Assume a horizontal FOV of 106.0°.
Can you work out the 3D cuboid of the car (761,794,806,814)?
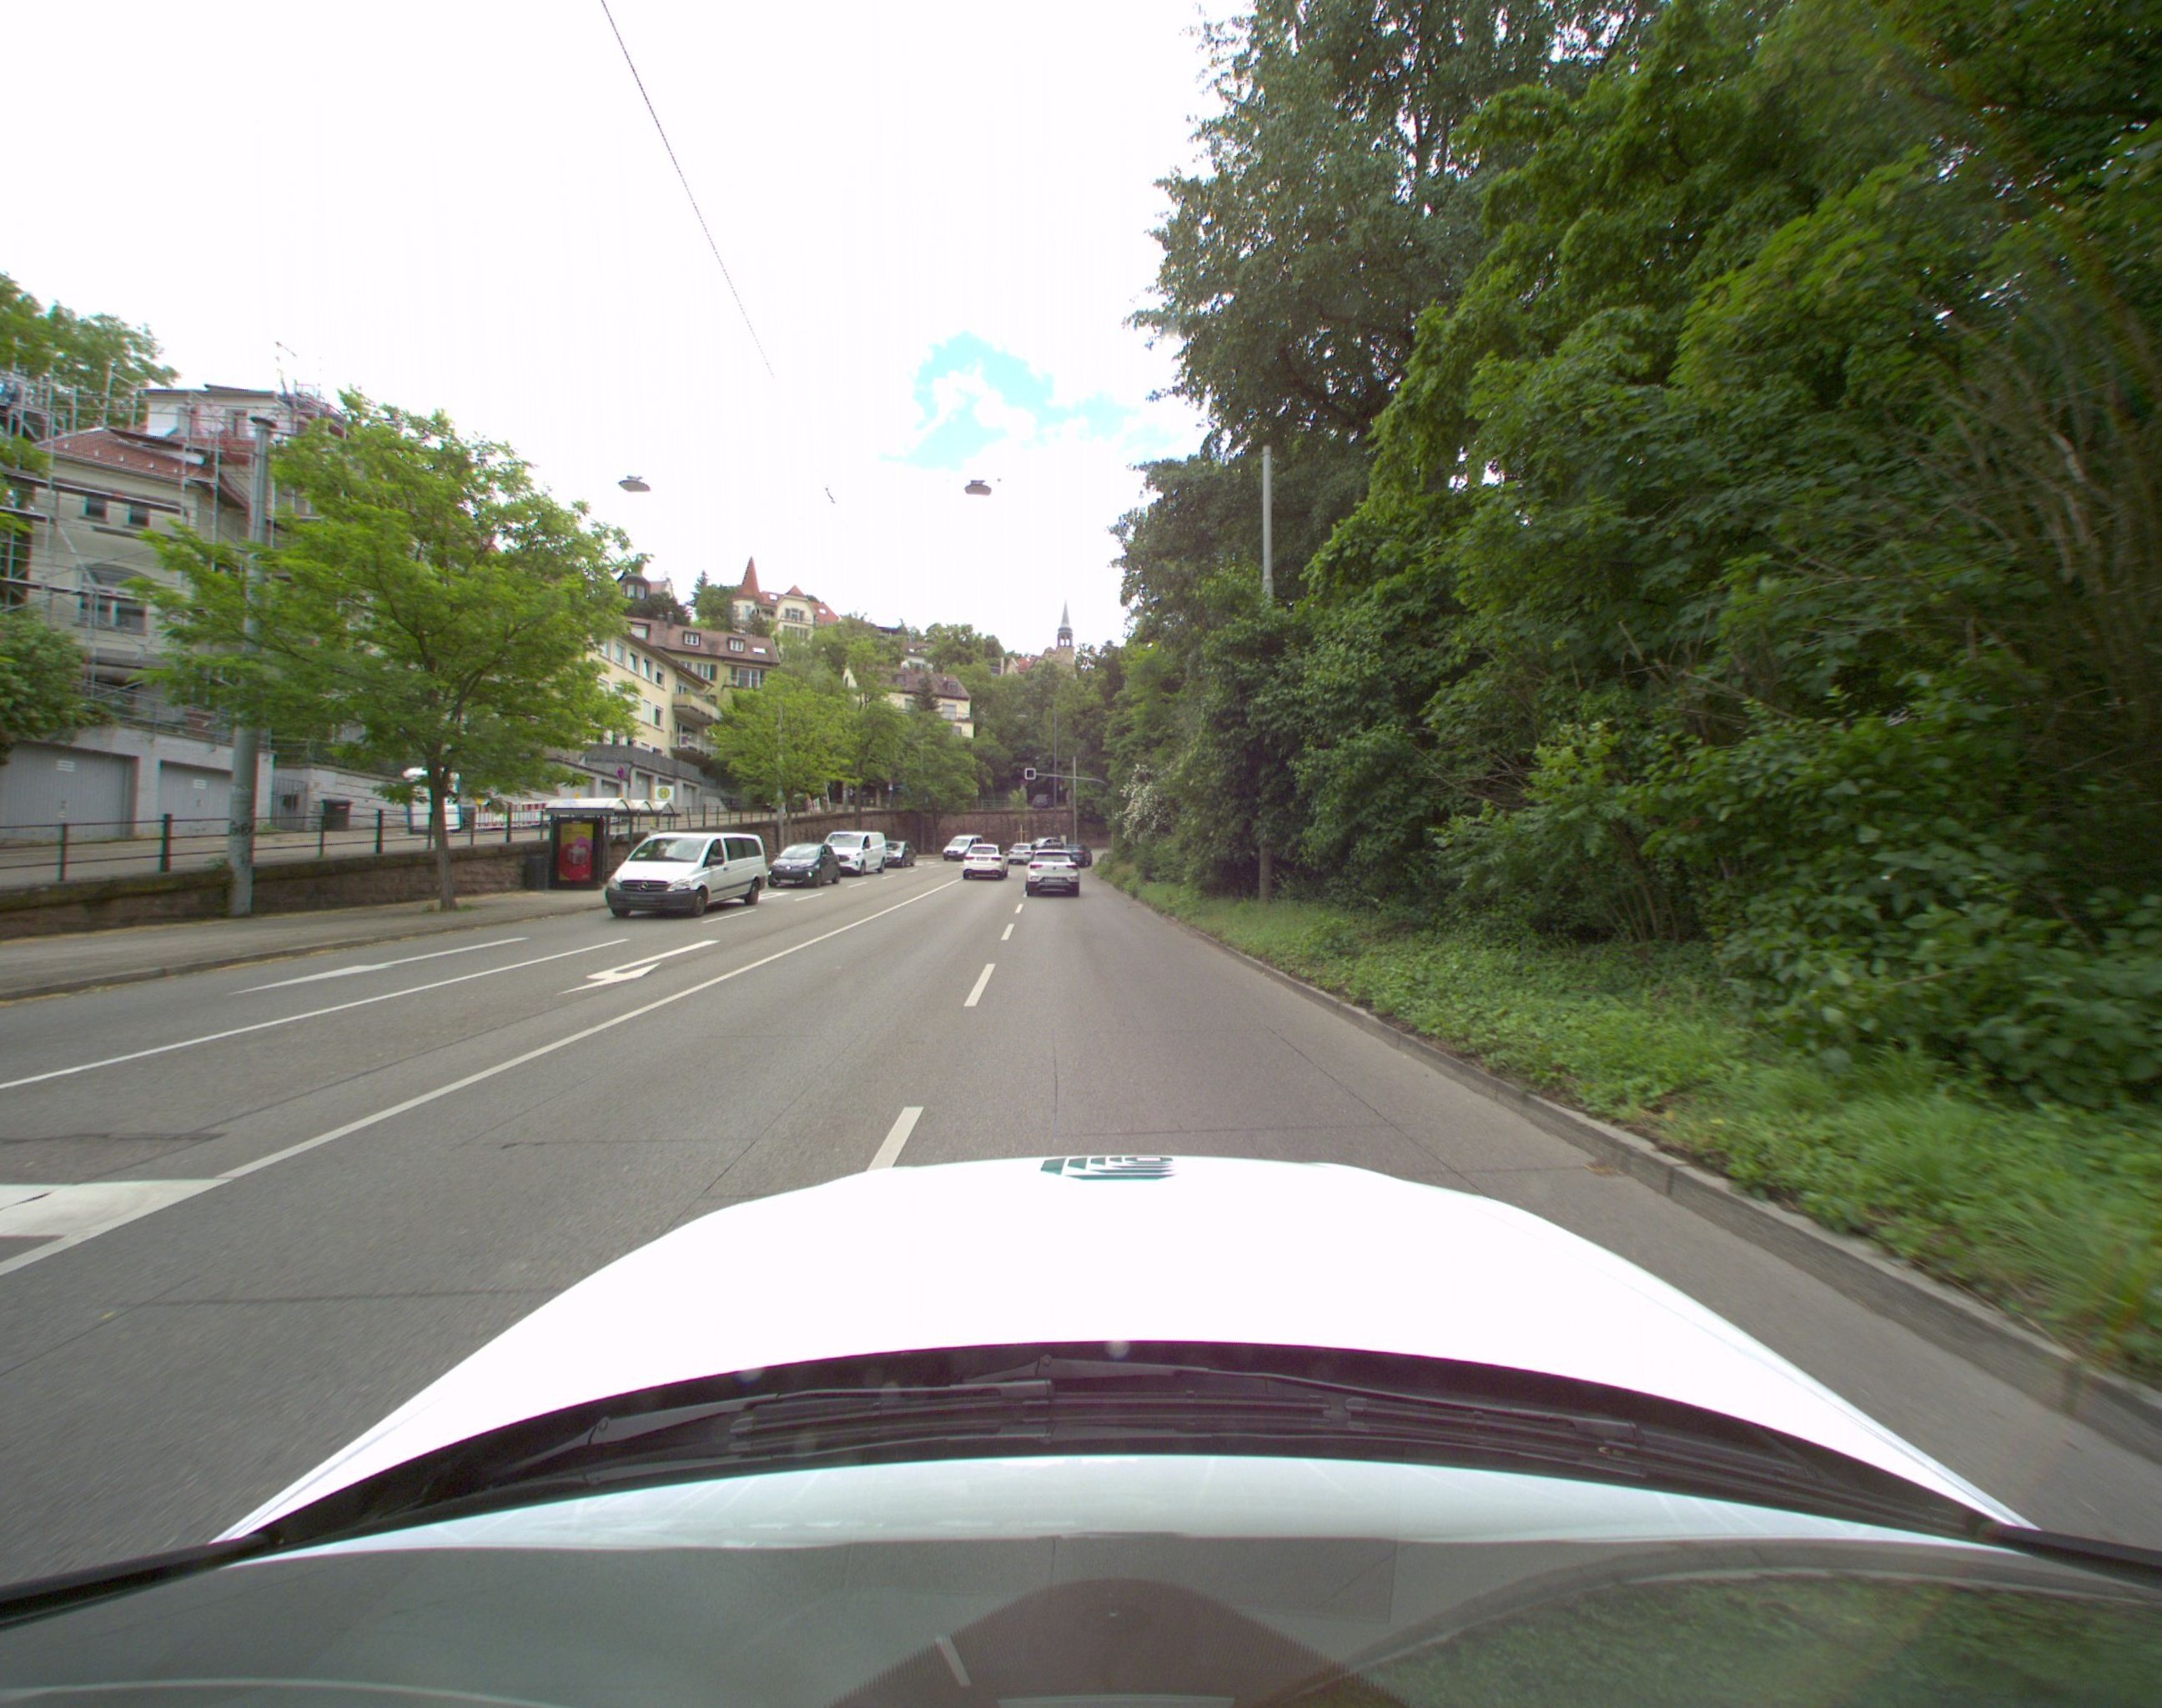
[{"bbox_3d":[-21.850,-3.664,59.900,1.542,1.279,3.608,-2,1,9],"label":"car"}]

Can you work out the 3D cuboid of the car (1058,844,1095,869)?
[{"bbox_3d":[-0.279,0.143,57.013,1.849,1.632,3.970,-3,0,10],"label":"car"}]

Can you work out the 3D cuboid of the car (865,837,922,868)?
[{"bbox_3d":[-10.704,-0.129,46.770,1.985,1.617,4.333,3,2,3],"label":"car"}]

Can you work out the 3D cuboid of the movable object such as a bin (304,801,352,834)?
[{"bbox_3d":[-24.512,-1.183,26.519,0.805,1.042,0.836,-1,0,-8],"label":"movable object such as a bin"}]

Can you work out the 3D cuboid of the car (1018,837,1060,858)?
[{"bbox_3d":[-3.609,-0.601,70.746,1.929,1.693,4.308,3,2,22],"label":"car"}]

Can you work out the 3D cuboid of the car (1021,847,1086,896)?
[{"bbox_3d":[-1.028,0.562,28.352,1.863,1.556,3.884,1,1,-8],"label":"car"}]

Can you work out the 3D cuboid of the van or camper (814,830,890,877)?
[{"bbox_3d":[-10.507,-0.067,37.830,1.987,2.013,5.560,0,1,0],"label":"van or camper"}]

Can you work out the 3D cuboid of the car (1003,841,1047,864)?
[{"bbox_3d":[-3.913,-0.117,57.800,2.234,1.519,4.319,-1,1,9],"label":"car"}]

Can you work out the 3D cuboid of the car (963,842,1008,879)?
[{"bbox_3d":[-4.478,0.292,38.759,1.873,1.652,4.336,1,0,-4],"label":"car"}]

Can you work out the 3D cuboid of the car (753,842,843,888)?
[{"bbox_3d":[-10.102,0.348,29.399,1.989,1.520,3.987,1,1,-2],"label":"car"}]

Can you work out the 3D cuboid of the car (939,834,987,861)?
[{"bbox_3d":[-8.472,-0.459,58.878,1.932,1.798,4.302,3,1,14],"label":"car"}]

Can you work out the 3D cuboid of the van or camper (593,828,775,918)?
[{"bbox_3d":[-9.378,0.387,19.879,1.989,1.895,5.451,0,0,-3],"label":"van or camper"}]

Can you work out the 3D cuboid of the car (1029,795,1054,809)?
[{"bbox_3d":[-4.378,-5.827,90.829,1.982,1.485,4.011,0,4,8],"label":"car"}]
